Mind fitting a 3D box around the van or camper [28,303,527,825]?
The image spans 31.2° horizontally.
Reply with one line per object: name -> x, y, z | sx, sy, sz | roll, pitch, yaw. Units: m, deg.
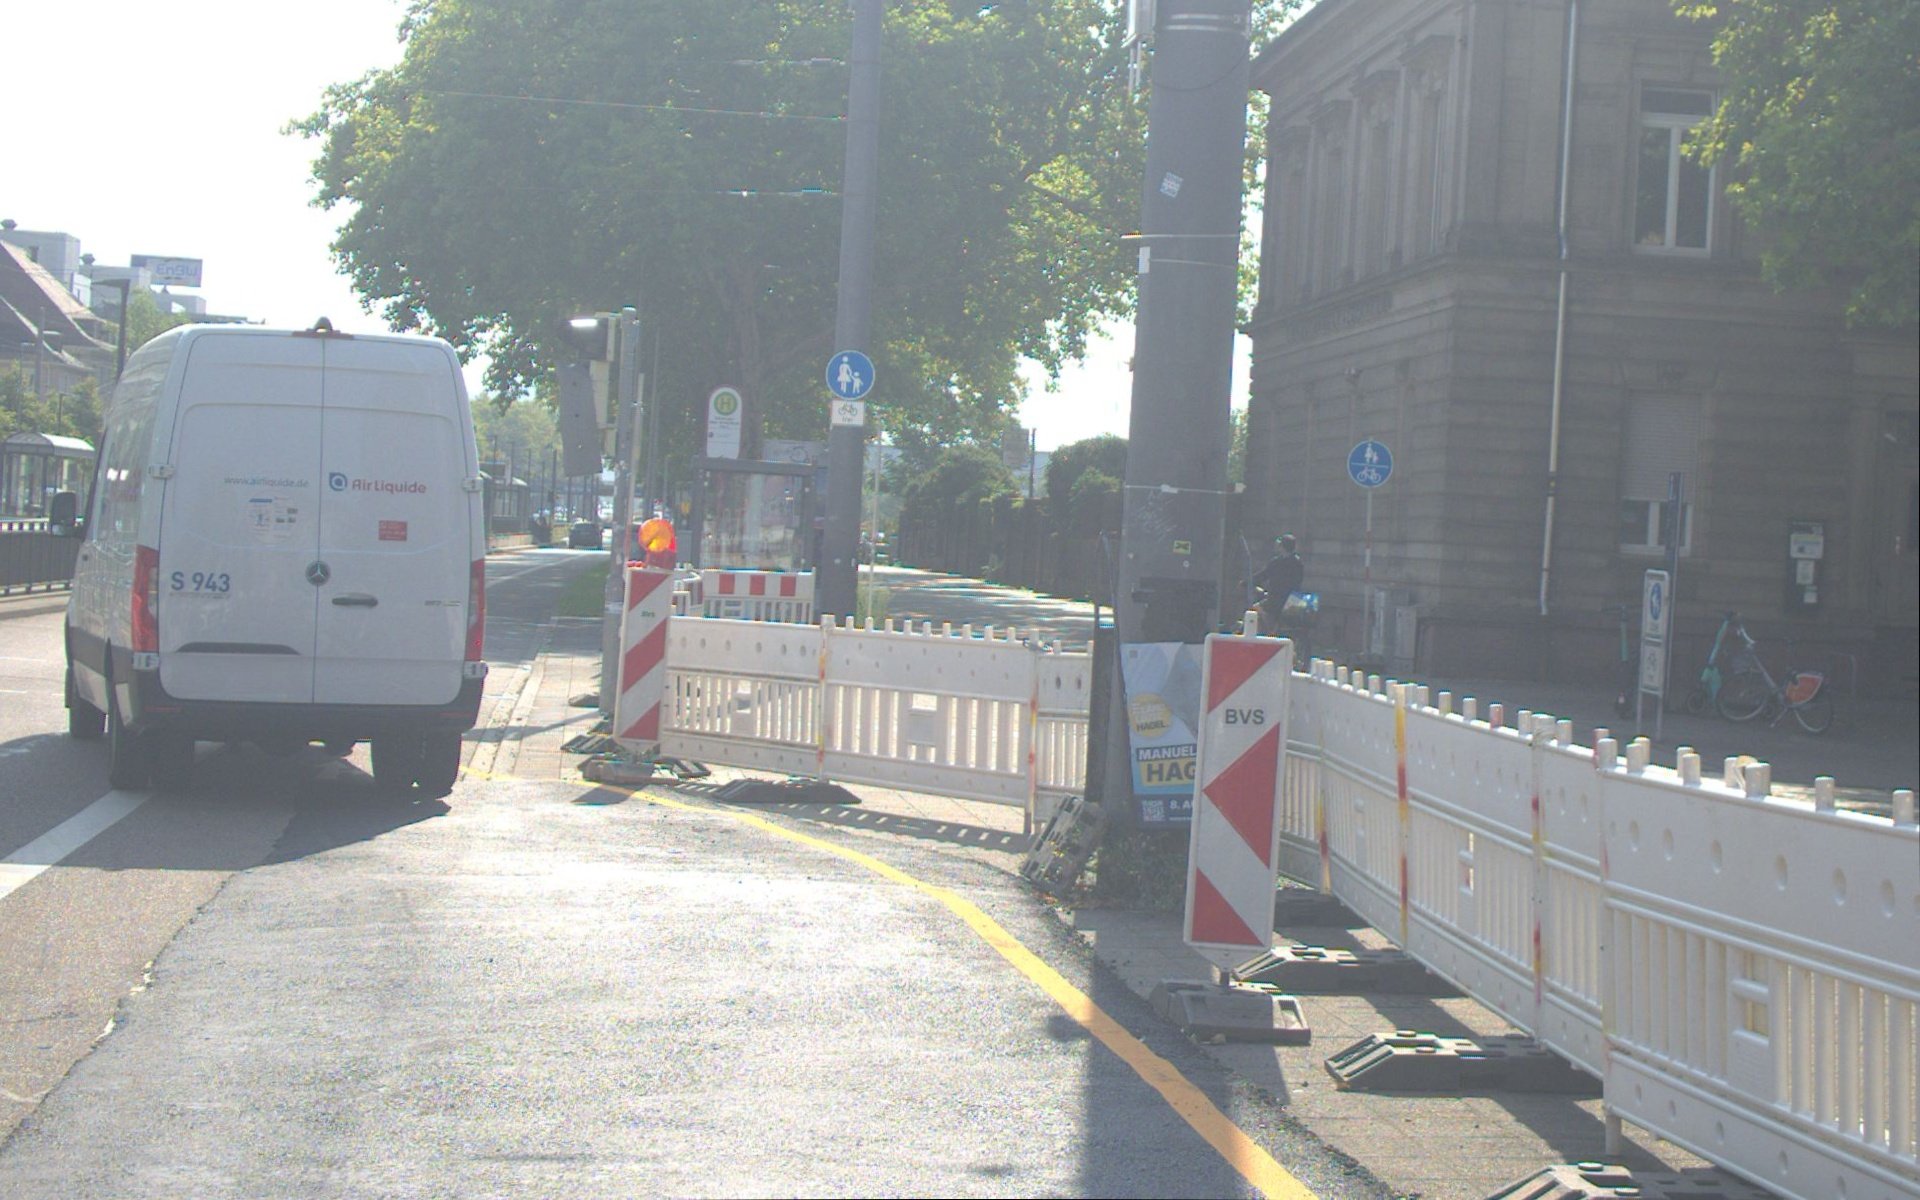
van or camper -> -4.342, -0.284, 21.095 | 2.115, 2.672, 5.252 | 4, 1, -19

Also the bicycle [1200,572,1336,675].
bicycle -> 3.587, 0.264, 40.177 | 0.491, 1.085, 1.857 | 3, 2, -33

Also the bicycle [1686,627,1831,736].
bicycle -> 8.737, 0.884, 37.687 | 0.491, 0.996, 1.819 | 3, 4, -24

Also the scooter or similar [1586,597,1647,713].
scooter or similar -> 7.329, 0.601, 38.411 | 0.425, 1.224, 1.173 | 3, 1, 2

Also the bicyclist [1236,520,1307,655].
bicyclist -> 3.633, -0.150, 40.120 | 0.469, 1.534, 0.596 | 3, 2, -33
